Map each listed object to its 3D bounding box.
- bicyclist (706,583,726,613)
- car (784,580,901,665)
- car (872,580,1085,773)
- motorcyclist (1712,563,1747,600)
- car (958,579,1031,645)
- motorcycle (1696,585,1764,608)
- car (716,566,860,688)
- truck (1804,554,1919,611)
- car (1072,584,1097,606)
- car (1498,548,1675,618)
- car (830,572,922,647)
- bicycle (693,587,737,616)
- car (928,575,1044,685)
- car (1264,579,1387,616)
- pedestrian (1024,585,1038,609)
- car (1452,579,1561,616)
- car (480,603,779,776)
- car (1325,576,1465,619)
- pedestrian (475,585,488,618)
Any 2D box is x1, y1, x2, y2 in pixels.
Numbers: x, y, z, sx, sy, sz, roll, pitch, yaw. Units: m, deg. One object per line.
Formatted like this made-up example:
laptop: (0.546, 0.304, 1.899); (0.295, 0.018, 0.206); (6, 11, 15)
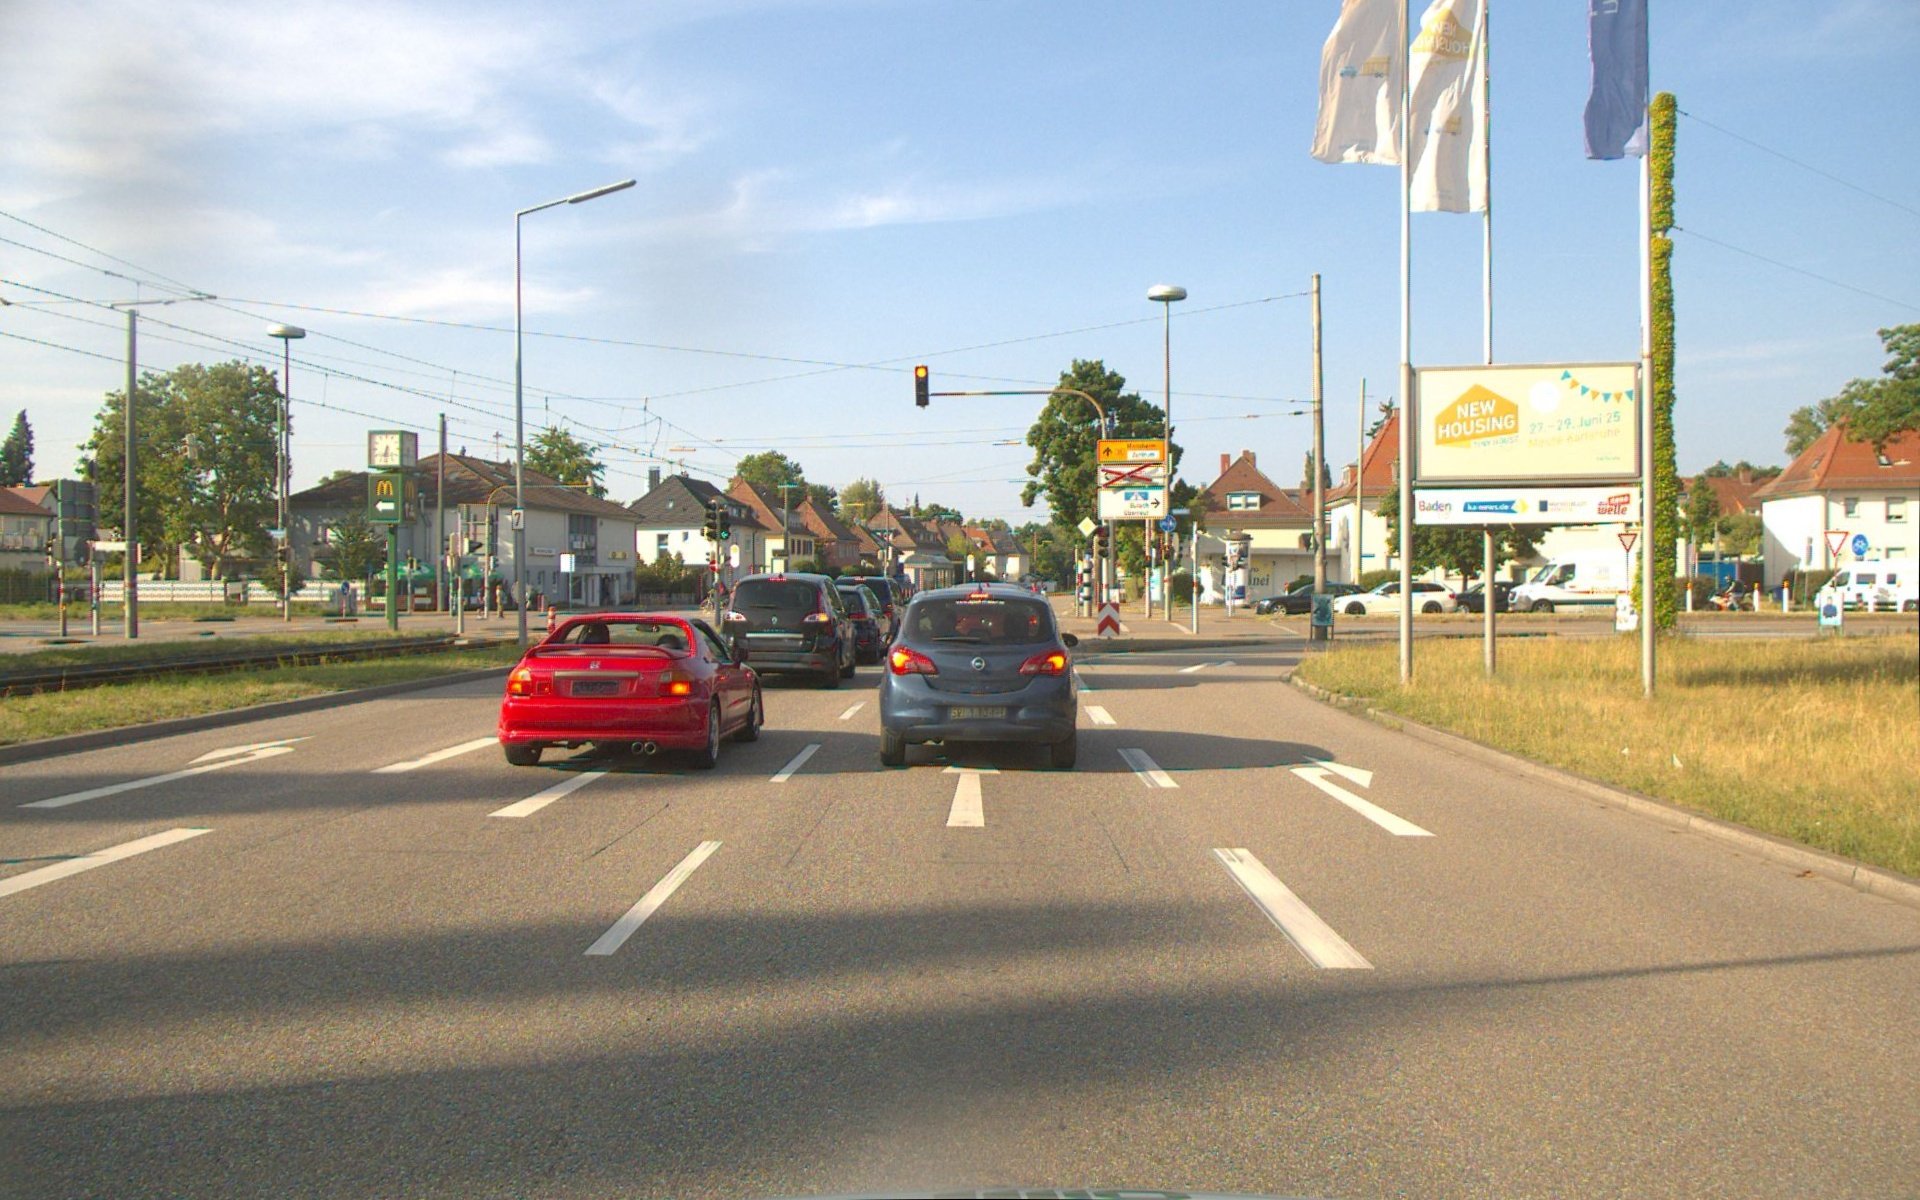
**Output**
bicyclist: (-11.883, -0.083, 80.680); (0.867, 1.456, 1.135); (1, 0, -6)
car: (-2.236, 0.390, 32.637); (1.664, 1.534, 4.556); (0, 1, 4)
car: (0.098, 0.583, 15.378); (1.706, 1.532, 4.221); (0, 1, -2)
motorcyclist: (29.149, -0.689, 62.650); (1.043, 1.375, 0.680); (0, 0, 2)
car: (0.827, 0.253, 39.167); (1.622, 1.468, 4.015); (-1, 0, 1)
motorcycle: (29.156, -0.140, 62.657); (2.224, 0.882, 0.691); (0, 0, 2)
car: (-2.524, 0.357, 25.161); (1.727, 1.700, 4.084); (0, 1, 0)
truck: (43.474, -0.851, 78.014); (2.247, 2.568, 6.291); (-1, 1, -31)
car: (8.479, -0.300, 112.850); (1.639, 1.422, 4.002); (1, 0, 4)
car: (24.097, -0.652, 63.777); (6.078, 2.628, 2.001); (0, 0, 4)
car: (-1.966, 0.185, 39.839); (1.474, 1.680, 4.747); (-1, 1, 6)
bicycle: (-11.932, 0.073, 80.682); (2.034, 1.371, 1.107); (1, 0, -6)
car: (0.411, 0.422, 26.074); (1.671, 1.579, 3.978); (-1, 0, 1)
car: (14.935, -0.107, 67.801); (4.722, 1.436, 1.717); (0, 0, 4)
pedestrian: (4.520, -0.186, 105.722); (0.737, 1.525, 0.828); (1, -1, 11)
car: (22.207, -0.112, 67.342); (3.903, 1.478, 1.717); (0, 0, 4)
car: (-2.728, 0.685, 14.522); (1.695, 1.227, 3.848); (1, 1, 2)
car: (16.811, -0.101, 64.109); (4.987, 1.590, 1.841); (0, 0, 4)
pedestrian: (-23.624, 0.058, 81.619); (0.501, 1.627, 0.539); (0, 0, -4)
